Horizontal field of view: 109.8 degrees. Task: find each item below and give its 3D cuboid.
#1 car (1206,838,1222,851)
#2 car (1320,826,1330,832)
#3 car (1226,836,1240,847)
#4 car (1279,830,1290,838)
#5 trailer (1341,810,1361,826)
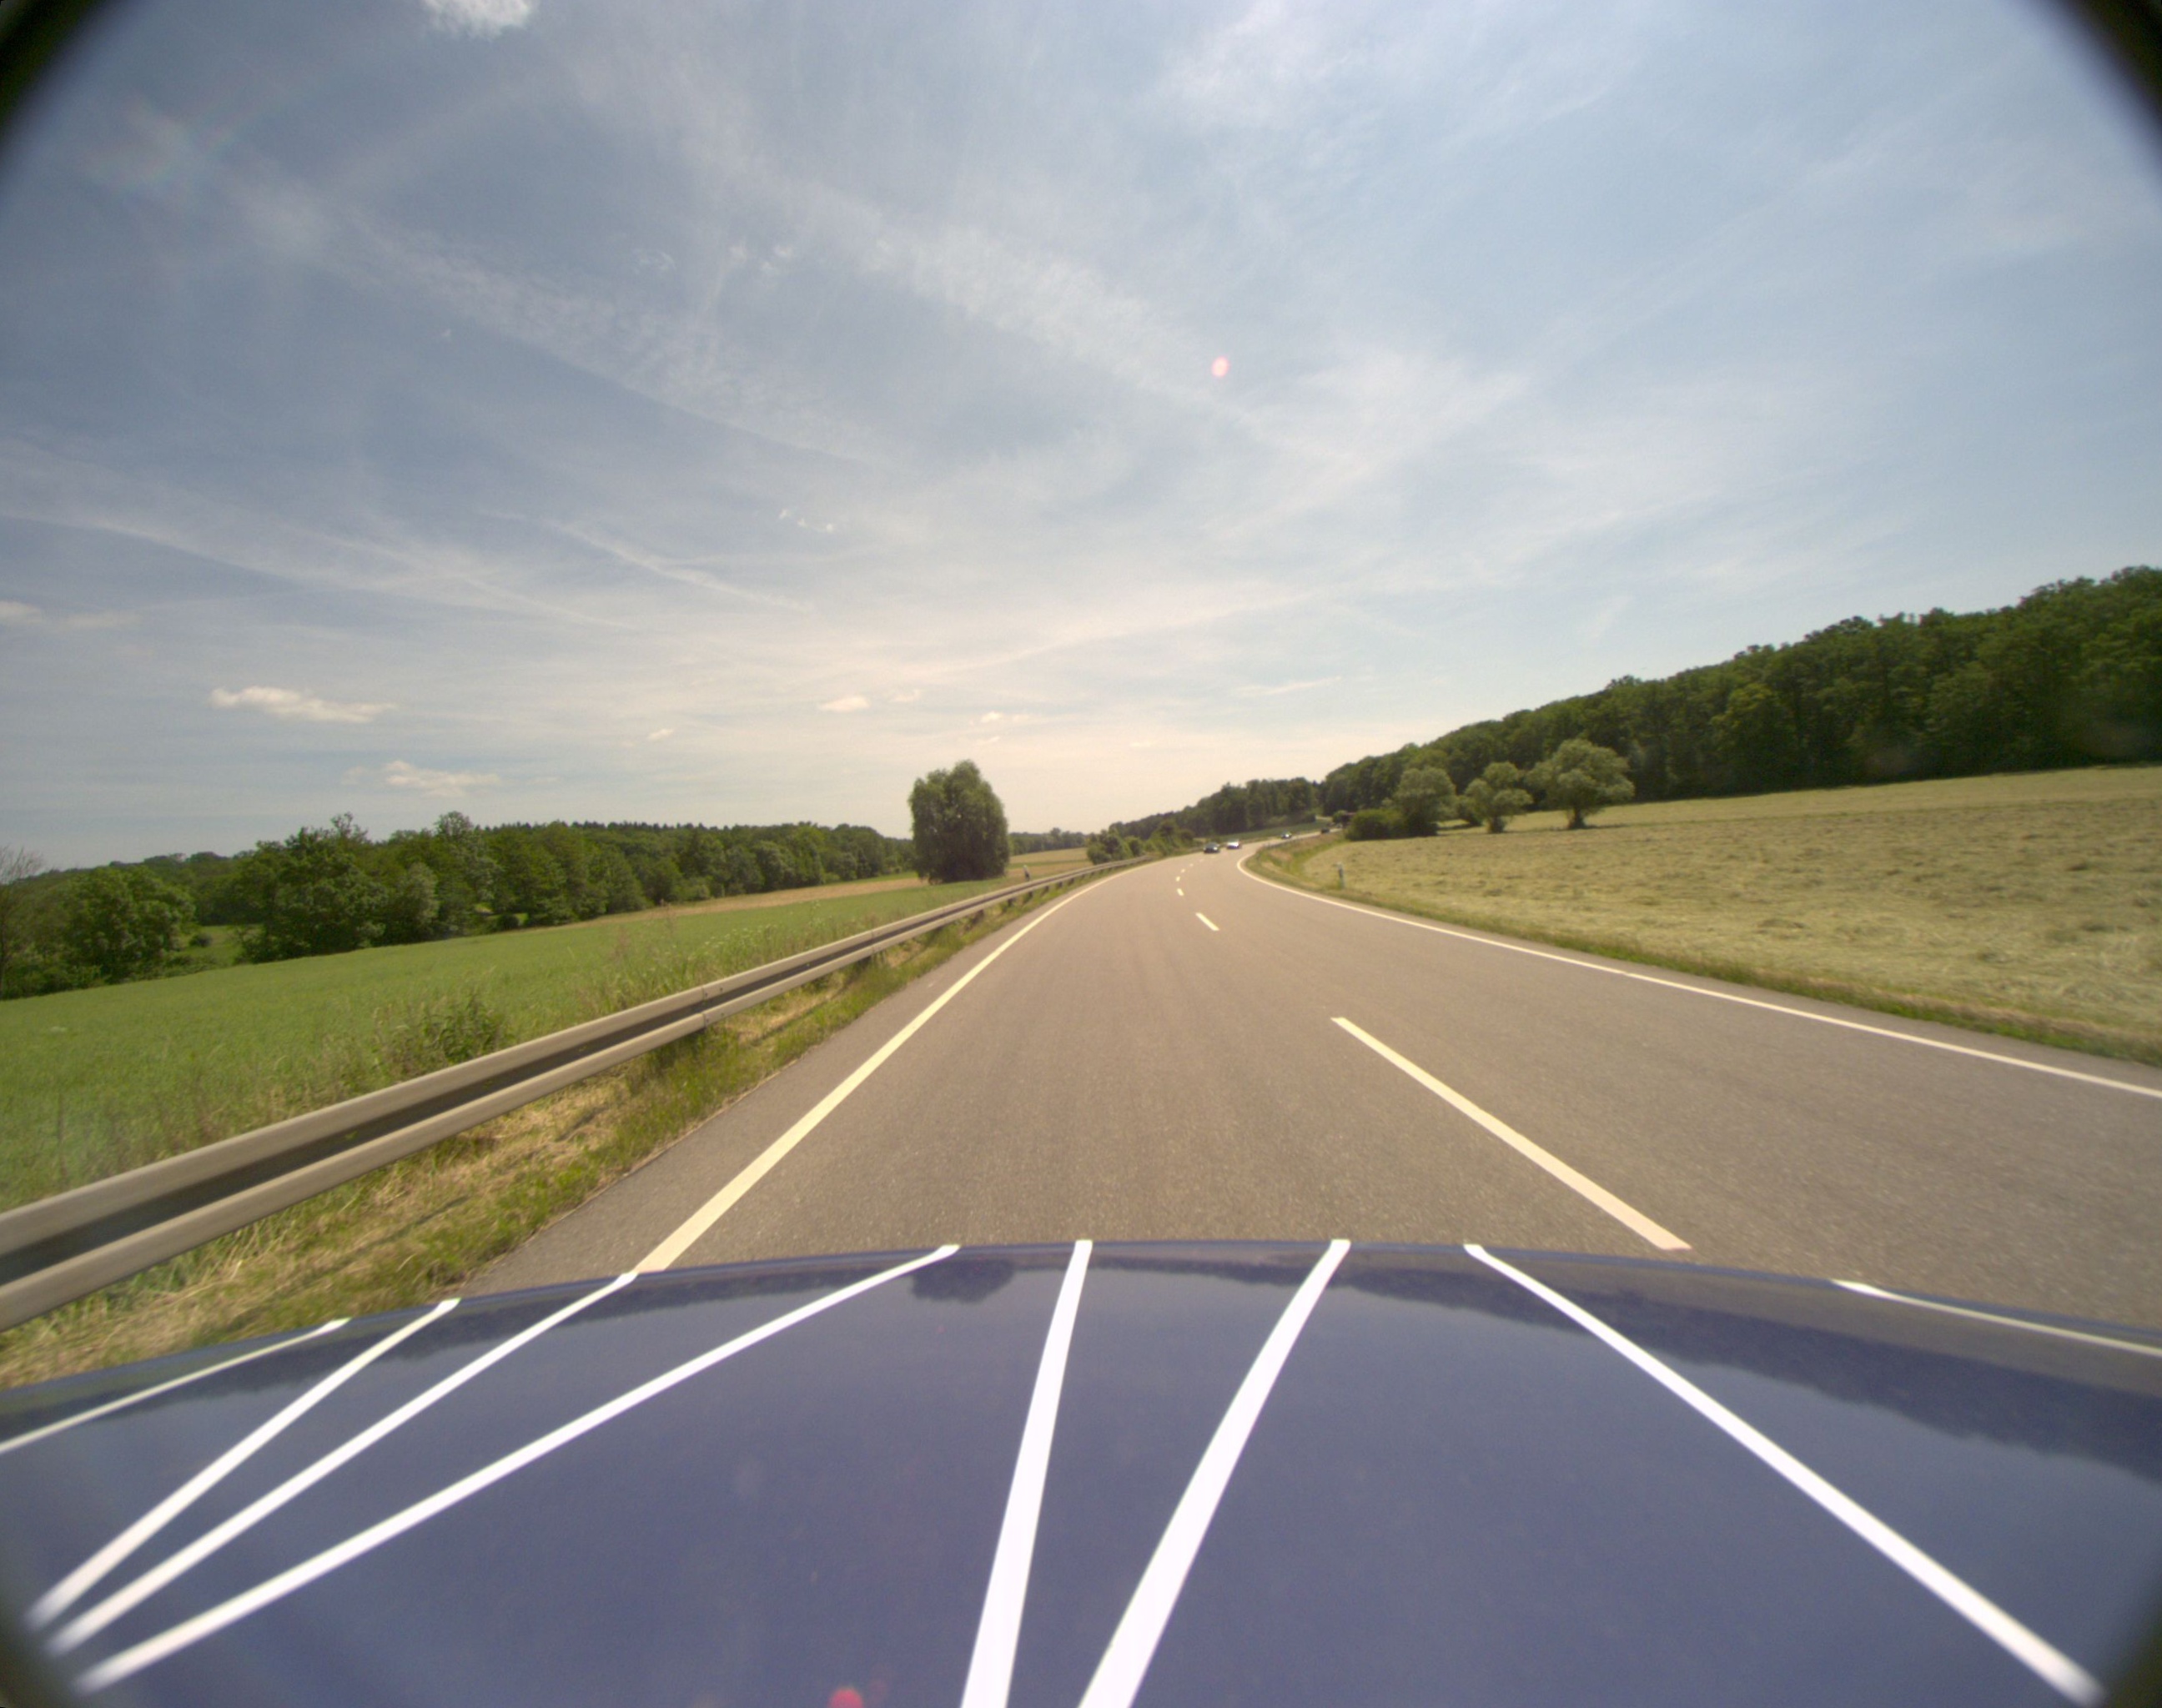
[{"bbox_3d":[17.700,-1.302,100.777,1.620,1.428,3.446,-3,2,17],"label":"car"},{"bbox_3d":[59.010,-6.009,183.389,1.701,1.461,4.206,-1,2,26],"label":"car"},{"bbox_3d":[23.467,-1.984,117.134,1.619,1.428,3.446,-3,2,20],"label":"car"},{"bbox_3d":[43.551,-4.239,162.494,1.619,1.428,3.447,-3,2,24],"label":"car"},{"bbox_3d":[78.302,-10.511,220.457,3.243,4.127,14.464,-1,3,28],"label":"trailer"}]
